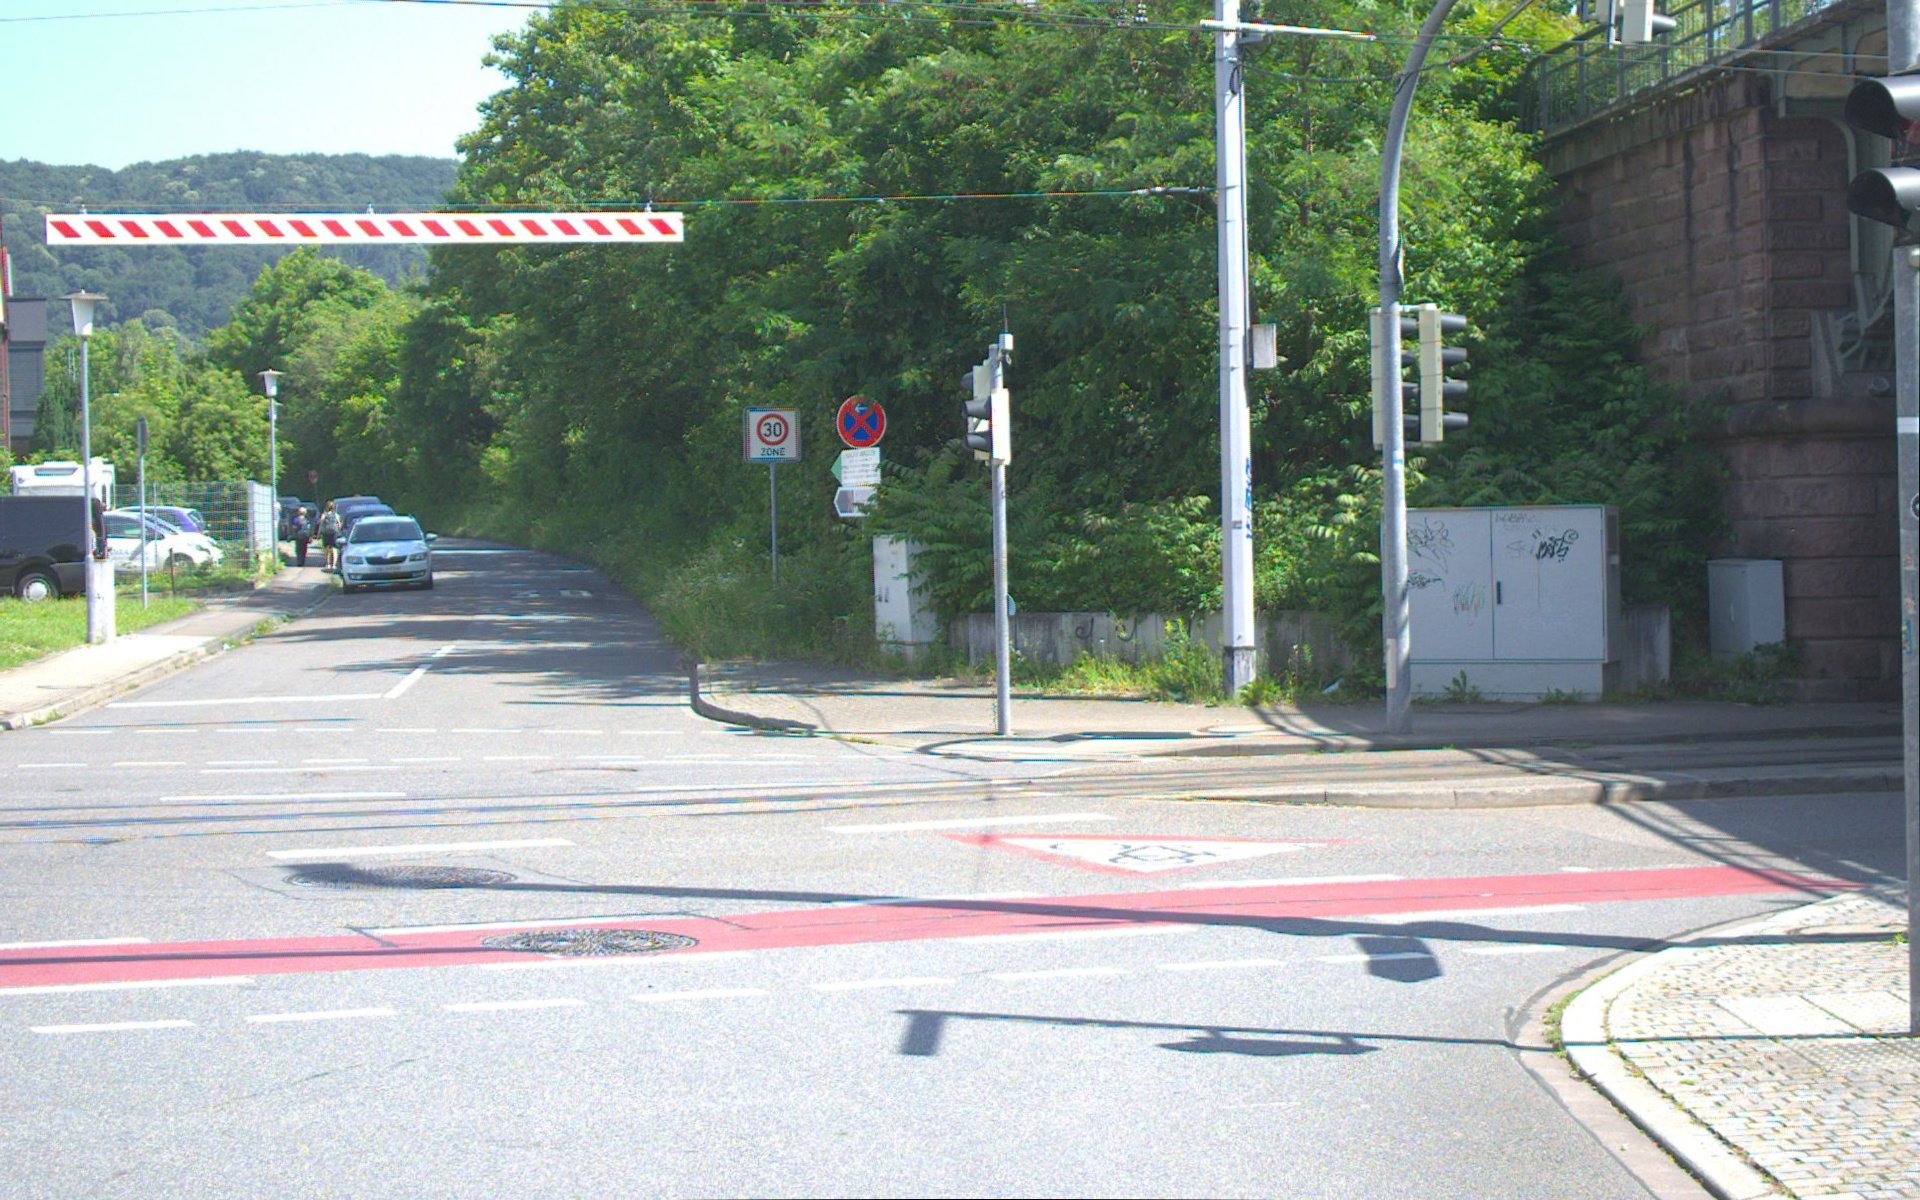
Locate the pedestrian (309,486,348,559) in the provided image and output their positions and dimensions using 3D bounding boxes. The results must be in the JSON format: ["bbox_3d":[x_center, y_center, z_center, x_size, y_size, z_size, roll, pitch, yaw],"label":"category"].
[{"bbox_3d":[-15.352,-1.885,83.620,0.875,1.757,0.731,1,0,-8],"label":"pedestrian"}]

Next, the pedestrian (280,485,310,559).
[{"bbox_3d":[-16.168,-1.896,83.572,0.653,1.757,0.804,1,0,-8],"label":"pedestrian"}]

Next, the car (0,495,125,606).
[{"bbox_3d":[-17.000,-0.803,58.424,5.247,1.810,2.001,-2,1,-8],"label":"car"}]

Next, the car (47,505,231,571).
[{"bbox_3d":[-17.939,-1.348,75.193,3.720,1.367,1.605,1,0,-6],"label":"car"}]

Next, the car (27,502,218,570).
[{"bbox_3d":[-17.661,-1.338,72.588,3.720,1.367,1.605,1,0,-6],"label":"car"}]

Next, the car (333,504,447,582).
[{"bbox_3d":[-11.532,-1.174,69.830,2.086,1.505,4.541,1,2,-7],"label":"car"}]
